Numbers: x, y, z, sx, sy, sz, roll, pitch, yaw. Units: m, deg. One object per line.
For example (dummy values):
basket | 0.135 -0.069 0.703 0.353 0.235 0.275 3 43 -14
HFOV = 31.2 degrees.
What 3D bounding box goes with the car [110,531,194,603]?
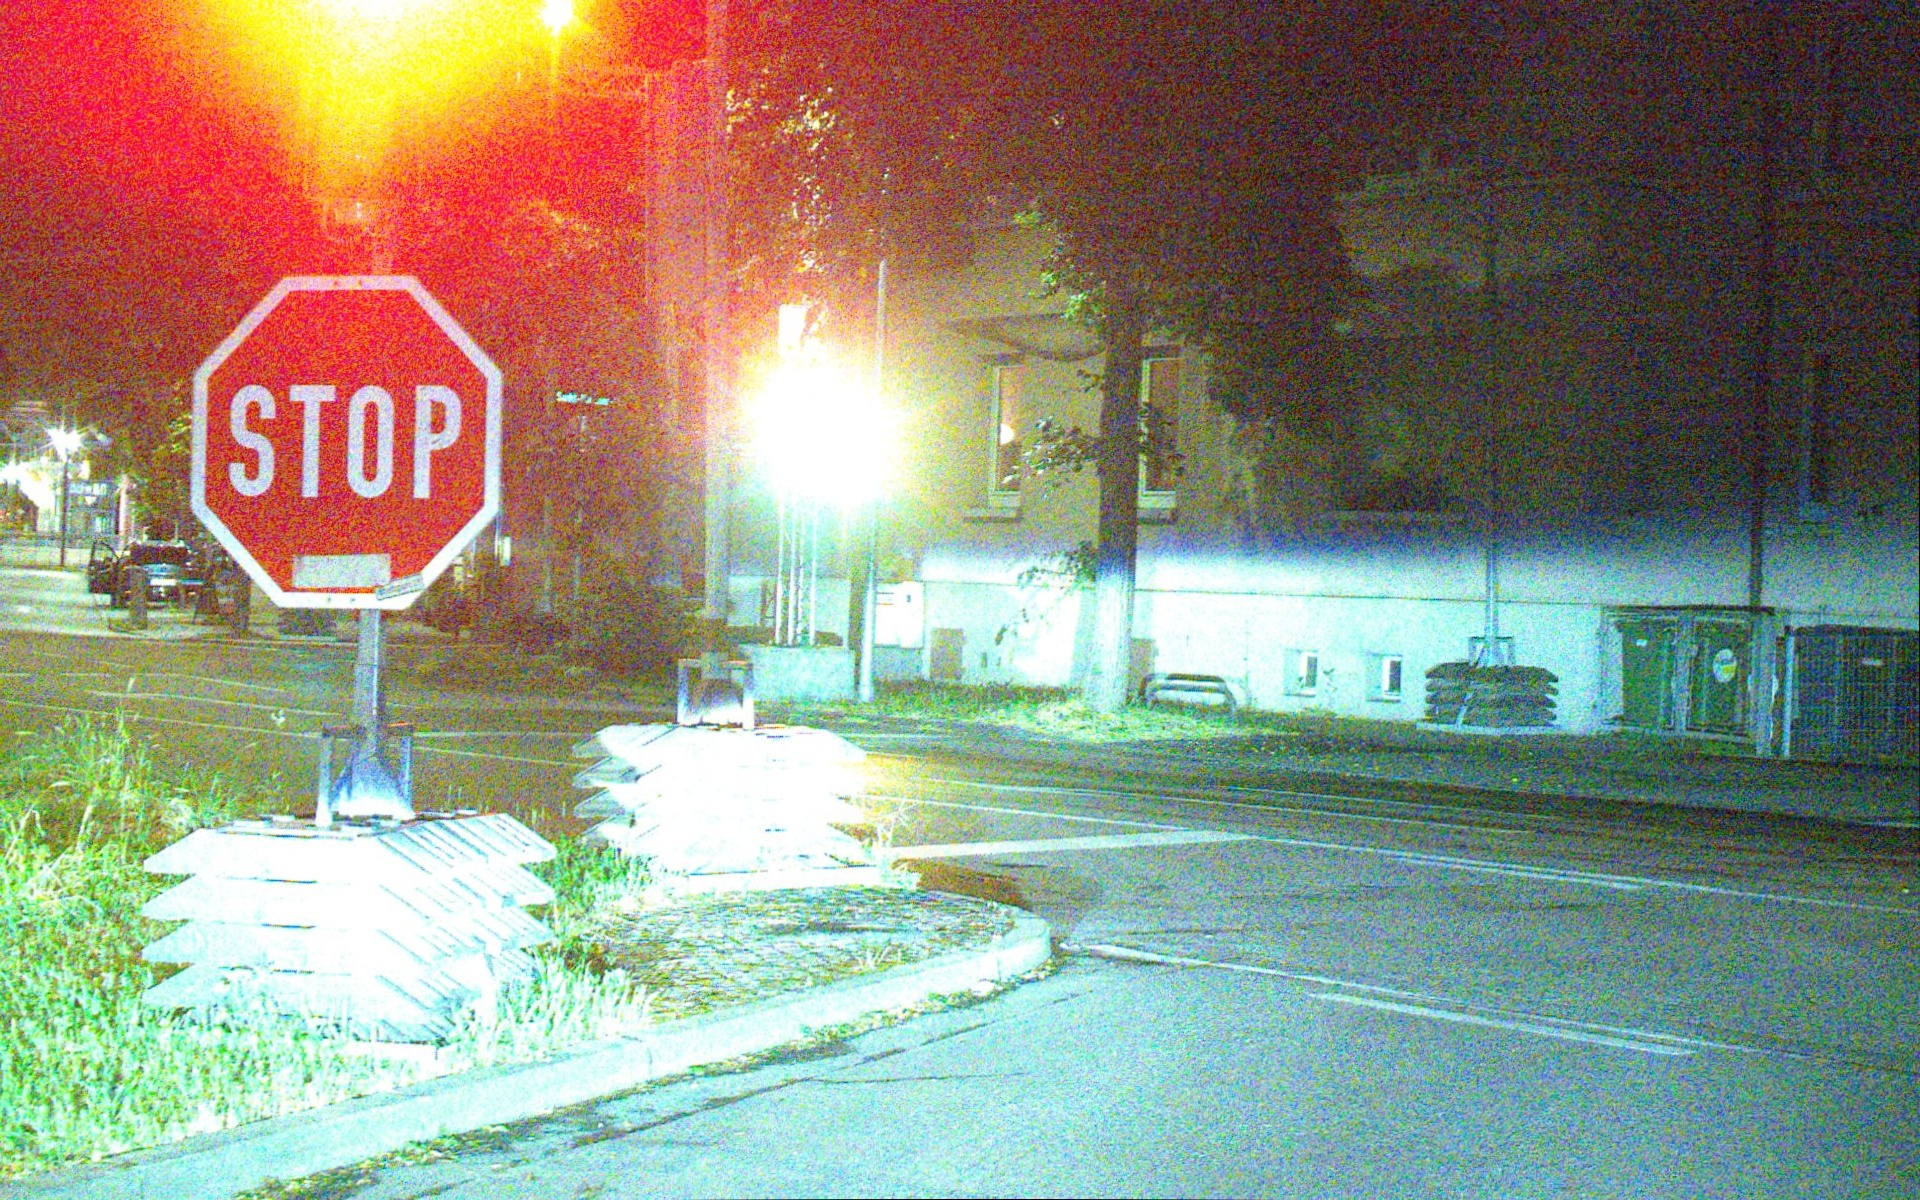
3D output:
car | -17.052 -0.711 72.579 1.651 1.426 4.001 2 1 -13
